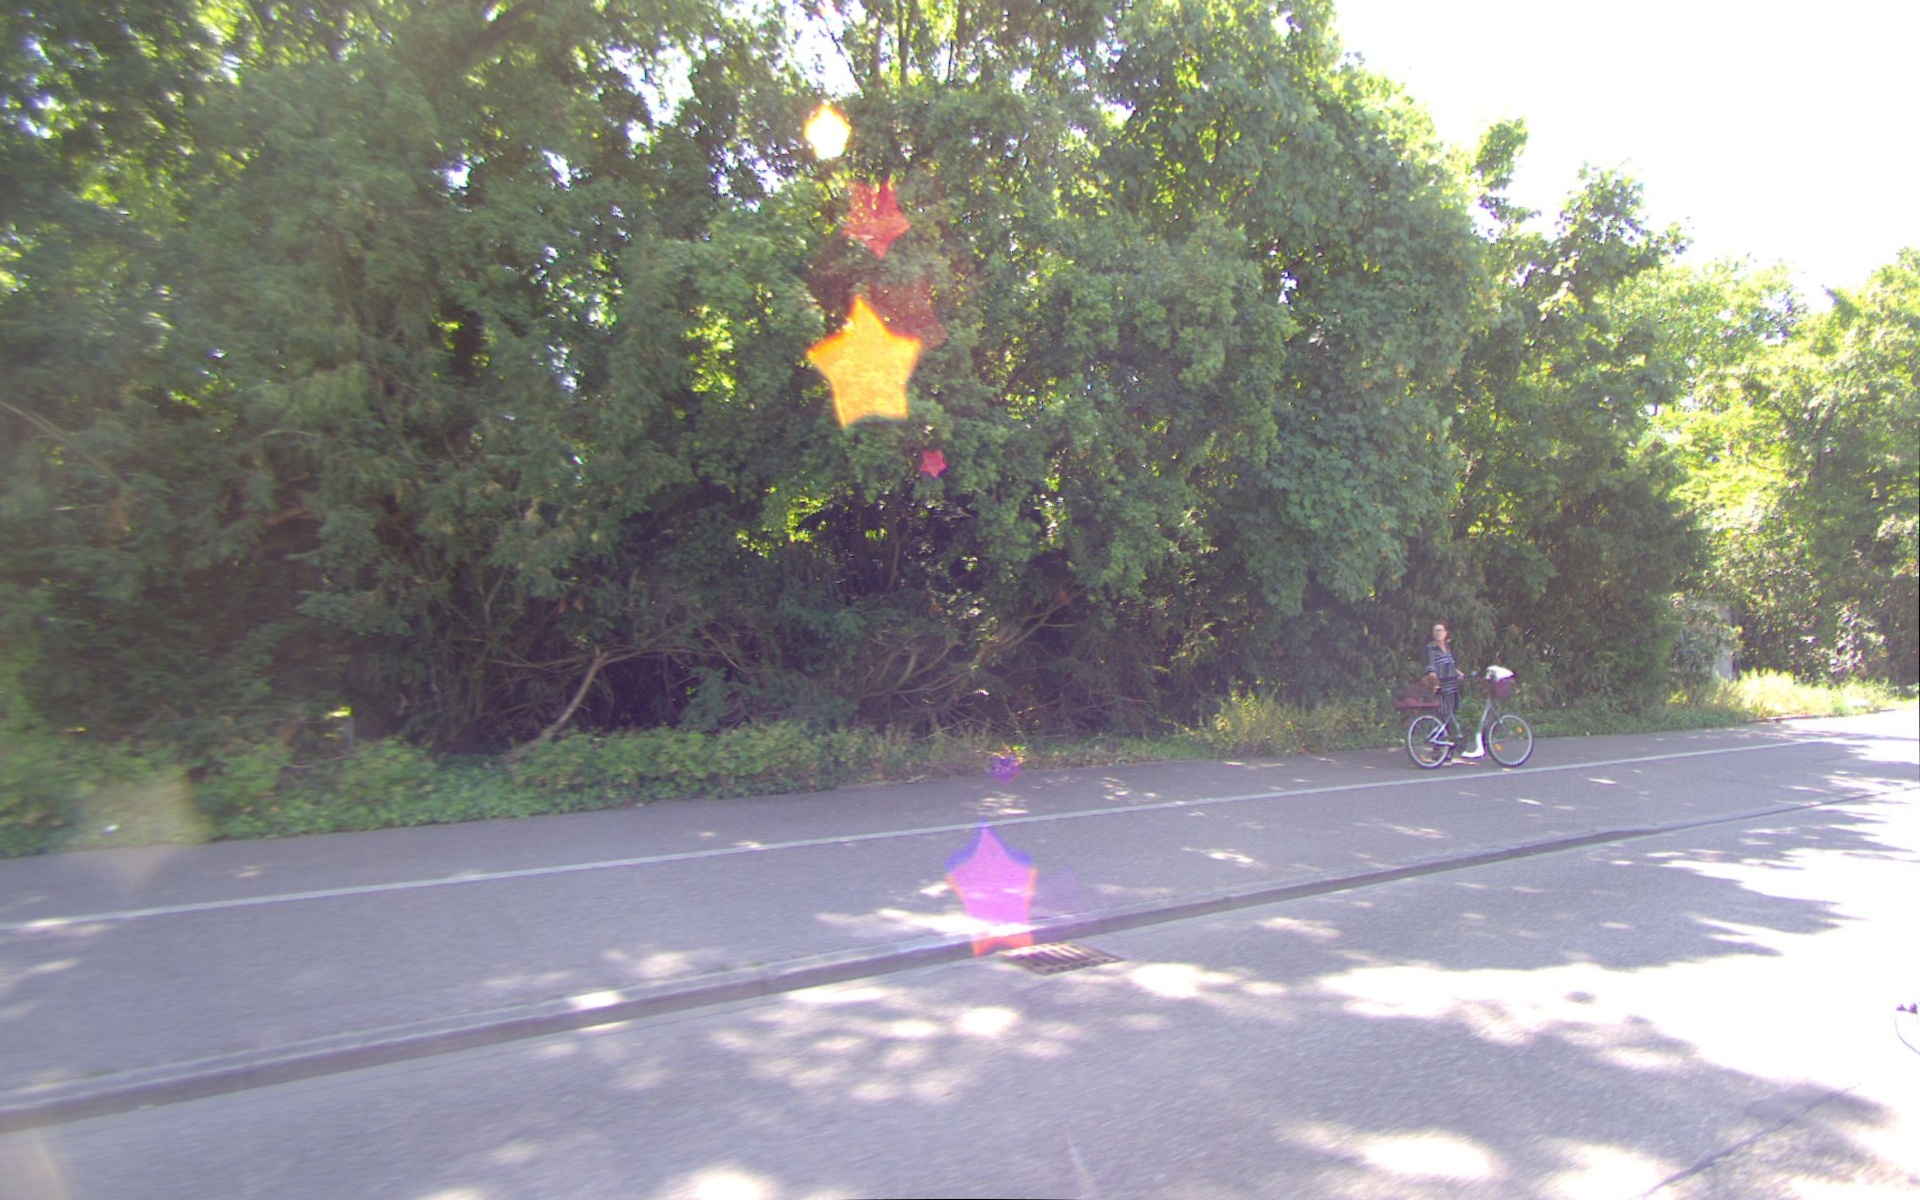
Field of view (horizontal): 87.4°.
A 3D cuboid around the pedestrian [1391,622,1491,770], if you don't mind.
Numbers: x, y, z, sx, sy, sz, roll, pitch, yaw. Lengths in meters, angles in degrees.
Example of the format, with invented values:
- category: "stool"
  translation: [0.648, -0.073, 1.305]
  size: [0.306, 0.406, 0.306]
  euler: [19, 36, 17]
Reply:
- category: "pedestrian"
  translation: [5.880, 1.147, 12.309]
  size: [0.763, 1.740, 0.808]
  euler: [1, -2, -14]

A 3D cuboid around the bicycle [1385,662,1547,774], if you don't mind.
- category: "bicycle"
  translation: [6.068, 1.389, 12.035]
  size: [1.930, 1.253, 0.521]
  euler: [2, -1, -18]
